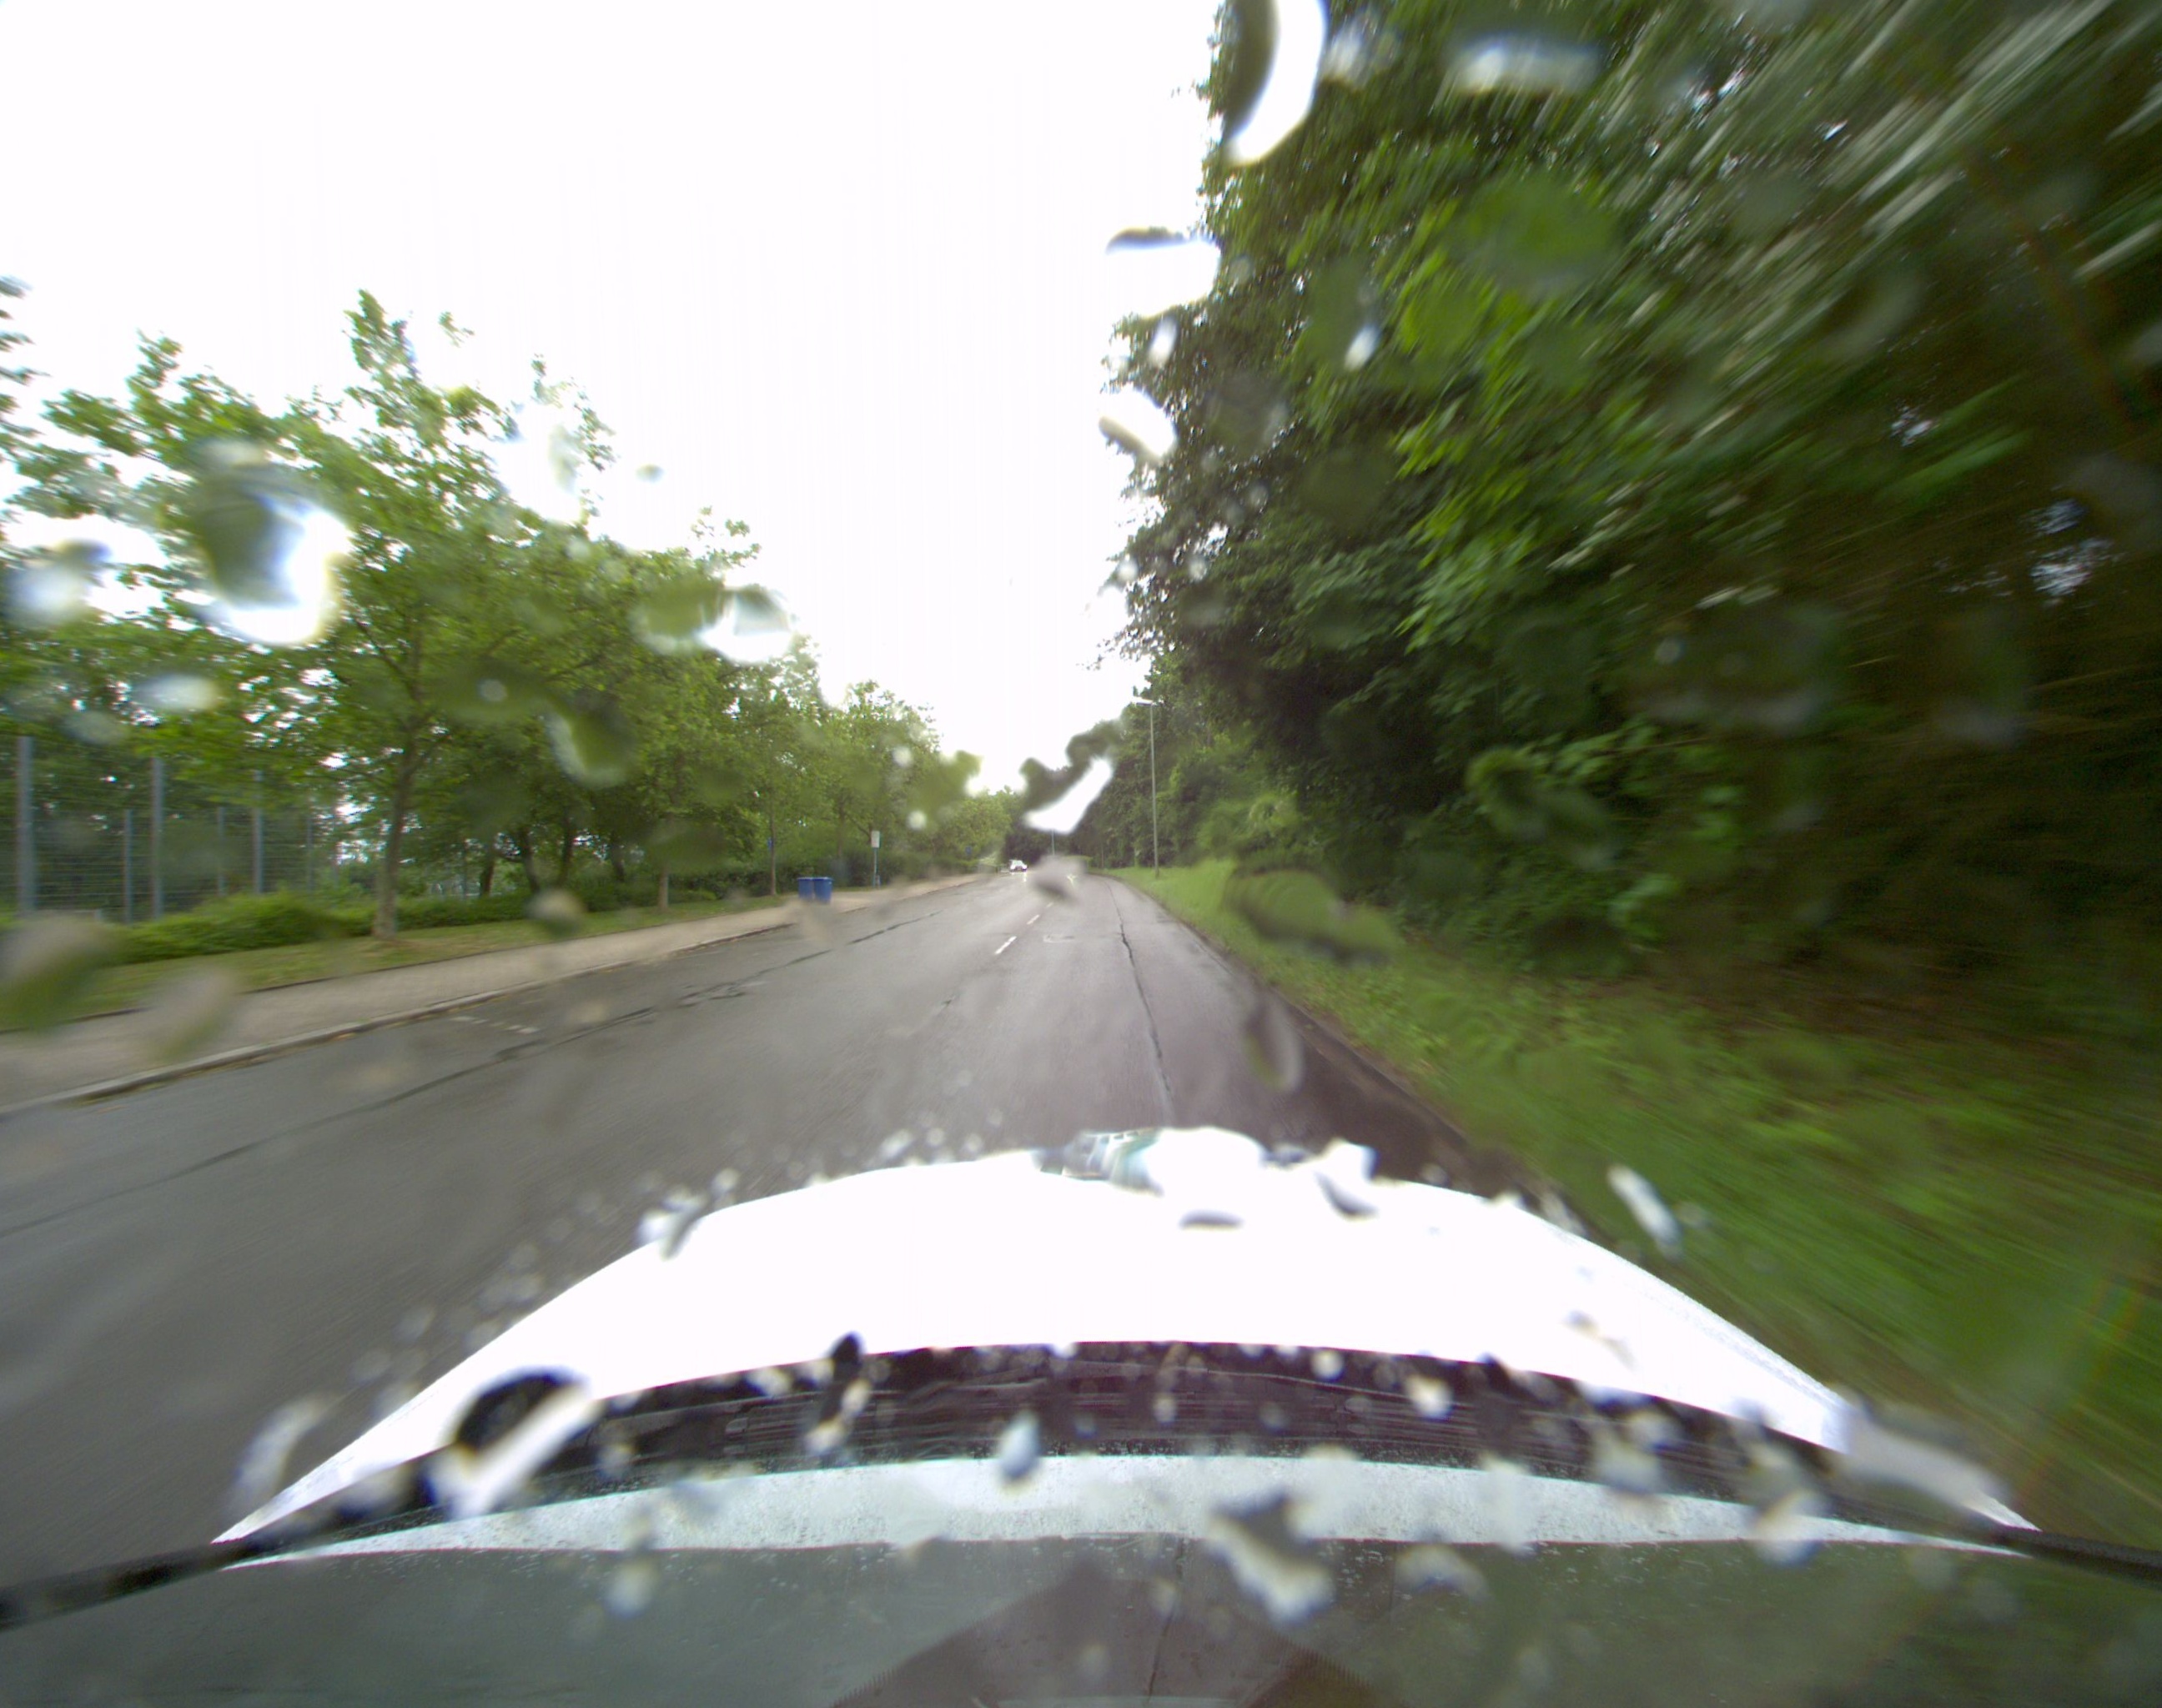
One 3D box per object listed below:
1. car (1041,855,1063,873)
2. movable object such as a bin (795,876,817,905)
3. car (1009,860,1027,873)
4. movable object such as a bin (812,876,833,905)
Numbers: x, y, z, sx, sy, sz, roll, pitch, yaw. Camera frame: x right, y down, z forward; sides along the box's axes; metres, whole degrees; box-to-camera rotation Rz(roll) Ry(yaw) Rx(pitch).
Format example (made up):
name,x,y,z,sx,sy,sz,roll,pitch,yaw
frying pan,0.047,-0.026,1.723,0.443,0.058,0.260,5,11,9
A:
name,x,y,z,sx,sy,sz,roll,pitch,yaw
car,-3.267,1.100,92.292,1.985,1.926,3.987,-1,0,-9
movable object such as a bin,-10.771,1.428,31.903,0.564,1.098,0.672,1,0,3
car,-7.746,1.475,99.687,1.826,1.465,3.987,-3,-1,-9
movable object such as a bin,-10.165,1.423,32.064,0.564,1.098,0.672,1,0,3
